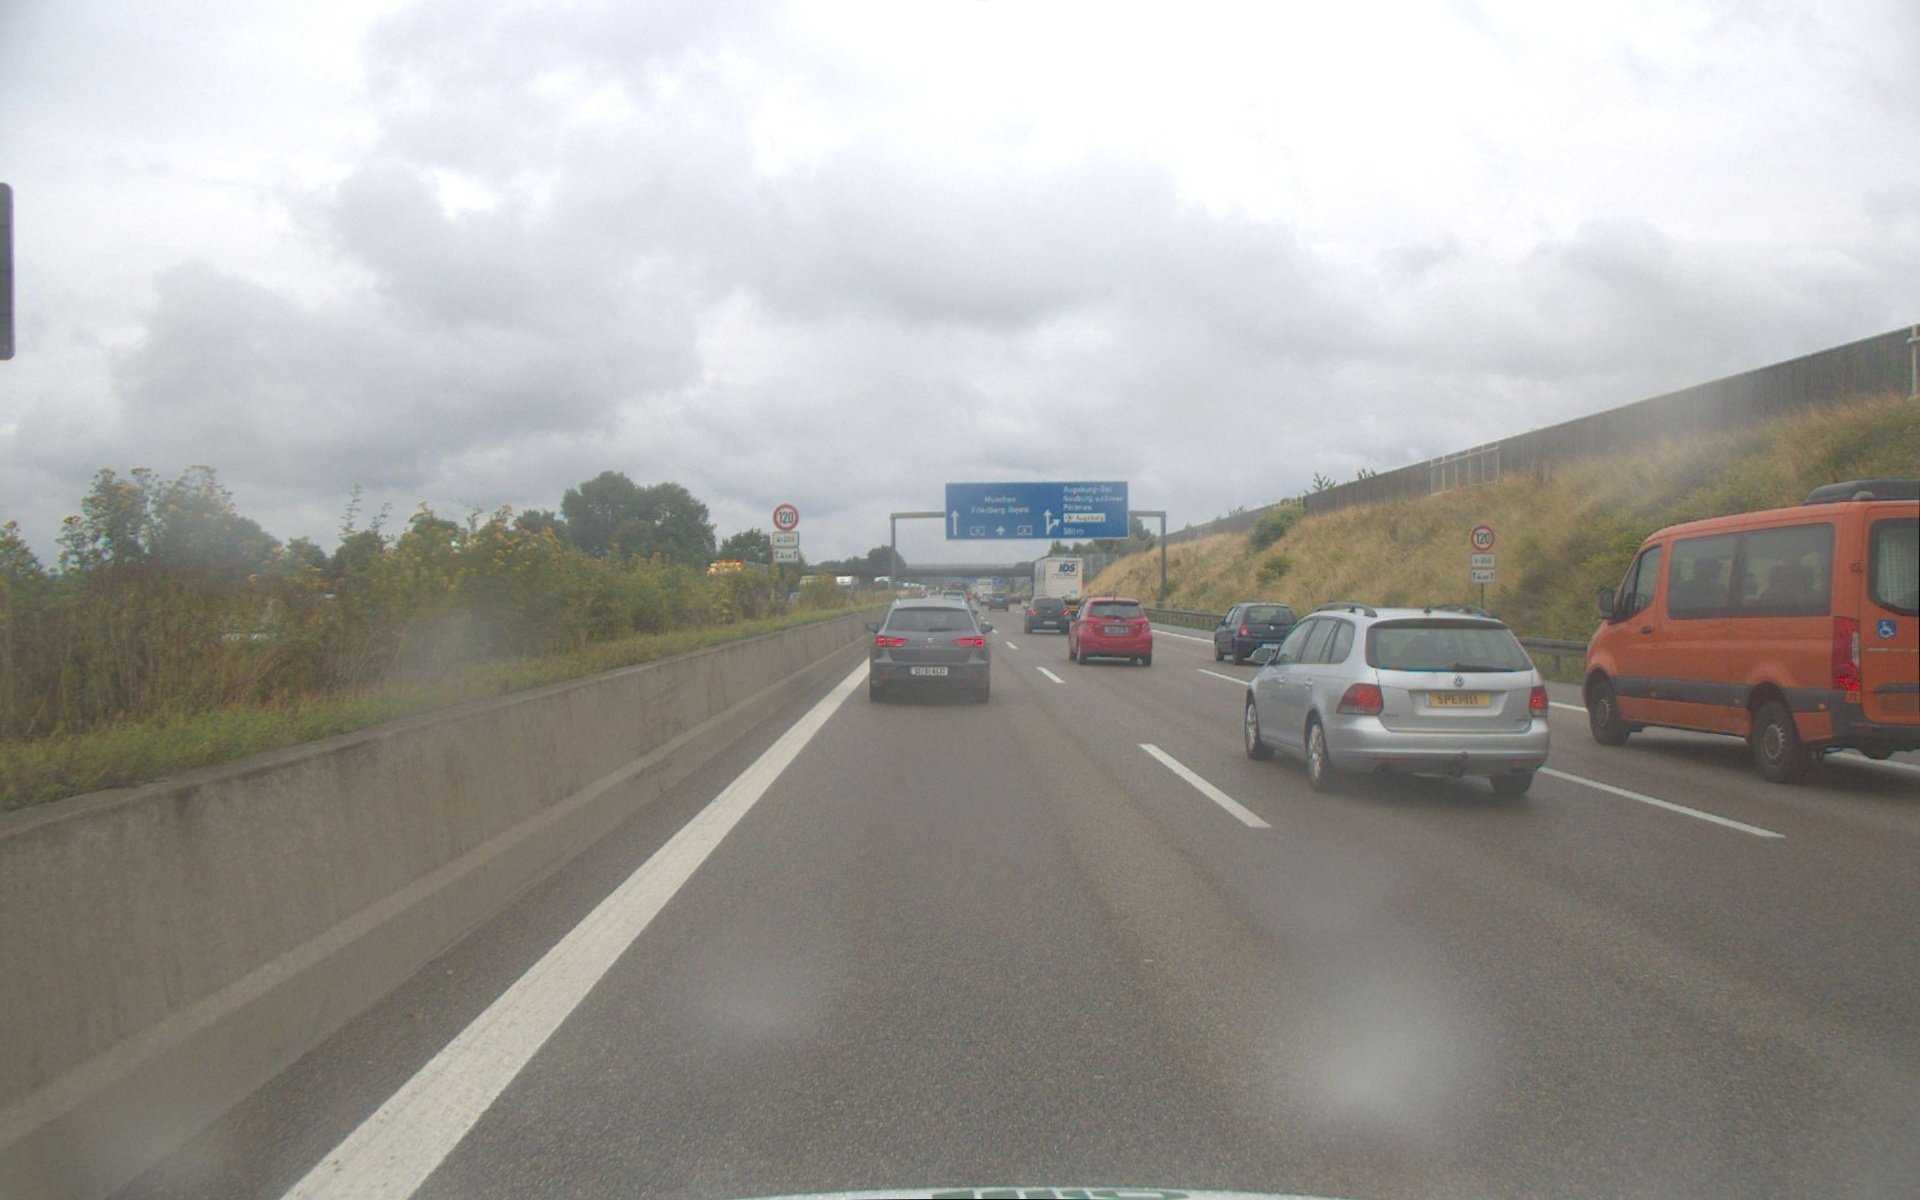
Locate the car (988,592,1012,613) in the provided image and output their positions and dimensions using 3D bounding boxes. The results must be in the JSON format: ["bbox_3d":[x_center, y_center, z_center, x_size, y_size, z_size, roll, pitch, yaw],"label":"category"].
[{"bbox_3d":[3.404,0.210,140.586,1.808,1.716,3.998,1,0,-2],"label":"car"}]

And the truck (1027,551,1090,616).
[{"bbox_3d":[7.173,-1.098,123.431,3.217,4.370,19.028,1,0,-1],"label":"truck"}]

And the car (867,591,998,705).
[{"bbox_3d":[-0.421,0.656,24.237,1.733,1.493,3.999,1,0,-1],"label":"car"}]

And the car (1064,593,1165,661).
[{"bbox_3d":[3.529,0.588,38.530,1.852,1.472,4.684,0,0,-1],"label":"car"}]

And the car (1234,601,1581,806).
[{"bbox_3d":[3.615,0.747,14.221,1.706,1.450,4.516,0,0,-1],"label":"car"}]

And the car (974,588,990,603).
[{"bbox_3d":[3.094,-0.679,229.553,1.954,2.049,3.998,0,0,-3],"label":"car"}]

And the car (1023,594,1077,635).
[{"bbox_3d":[3.559,0.555,66.069,1.882,1.548,4.622,0,0,-1],"label":"car"}]

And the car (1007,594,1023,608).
[{"bbox_3d":[7.423,0.080,223.509,1.954,1.892,4.388,0,0,-3],"label":"car"}]

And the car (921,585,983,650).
[{"bbox_3d":[-0.254,0.502,48.669,1.718,1.780,3.999,1,0,-1],"label":"car"}]

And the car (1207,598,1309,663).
[{"bbox_3d":[6.992,0.700,39.138,1.667,1.426,3.875,1,0,0],"label":"car"}]

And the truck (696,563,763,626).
[{"bbox_3d":[-17.127,-0.348,123.655,3.342,4.440,10.990,1,0,0],"label":"truck"}]

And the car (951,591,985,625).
[{"bbox_3d":[0.428,0.416,91.560,1.670,1.828,3.854,-2,0,-2],"label":"car"}]

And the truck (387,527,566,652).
[{"bbox_3d":[-17.195,-0.332,59.818,3.118,4.036,10.811,1,0,1],"label":"truck"}]

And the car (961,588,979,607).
[{"bbox_3d":[1.092,-0.252,186.549,1.953,2.049,4.241,1,0,0],"label":"car"}]

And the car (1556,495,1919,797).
[{"bbox_3d":[7.980,0.337,16.040,2.043,2.355,6.179,0,0,-1],"label":"car"}]
